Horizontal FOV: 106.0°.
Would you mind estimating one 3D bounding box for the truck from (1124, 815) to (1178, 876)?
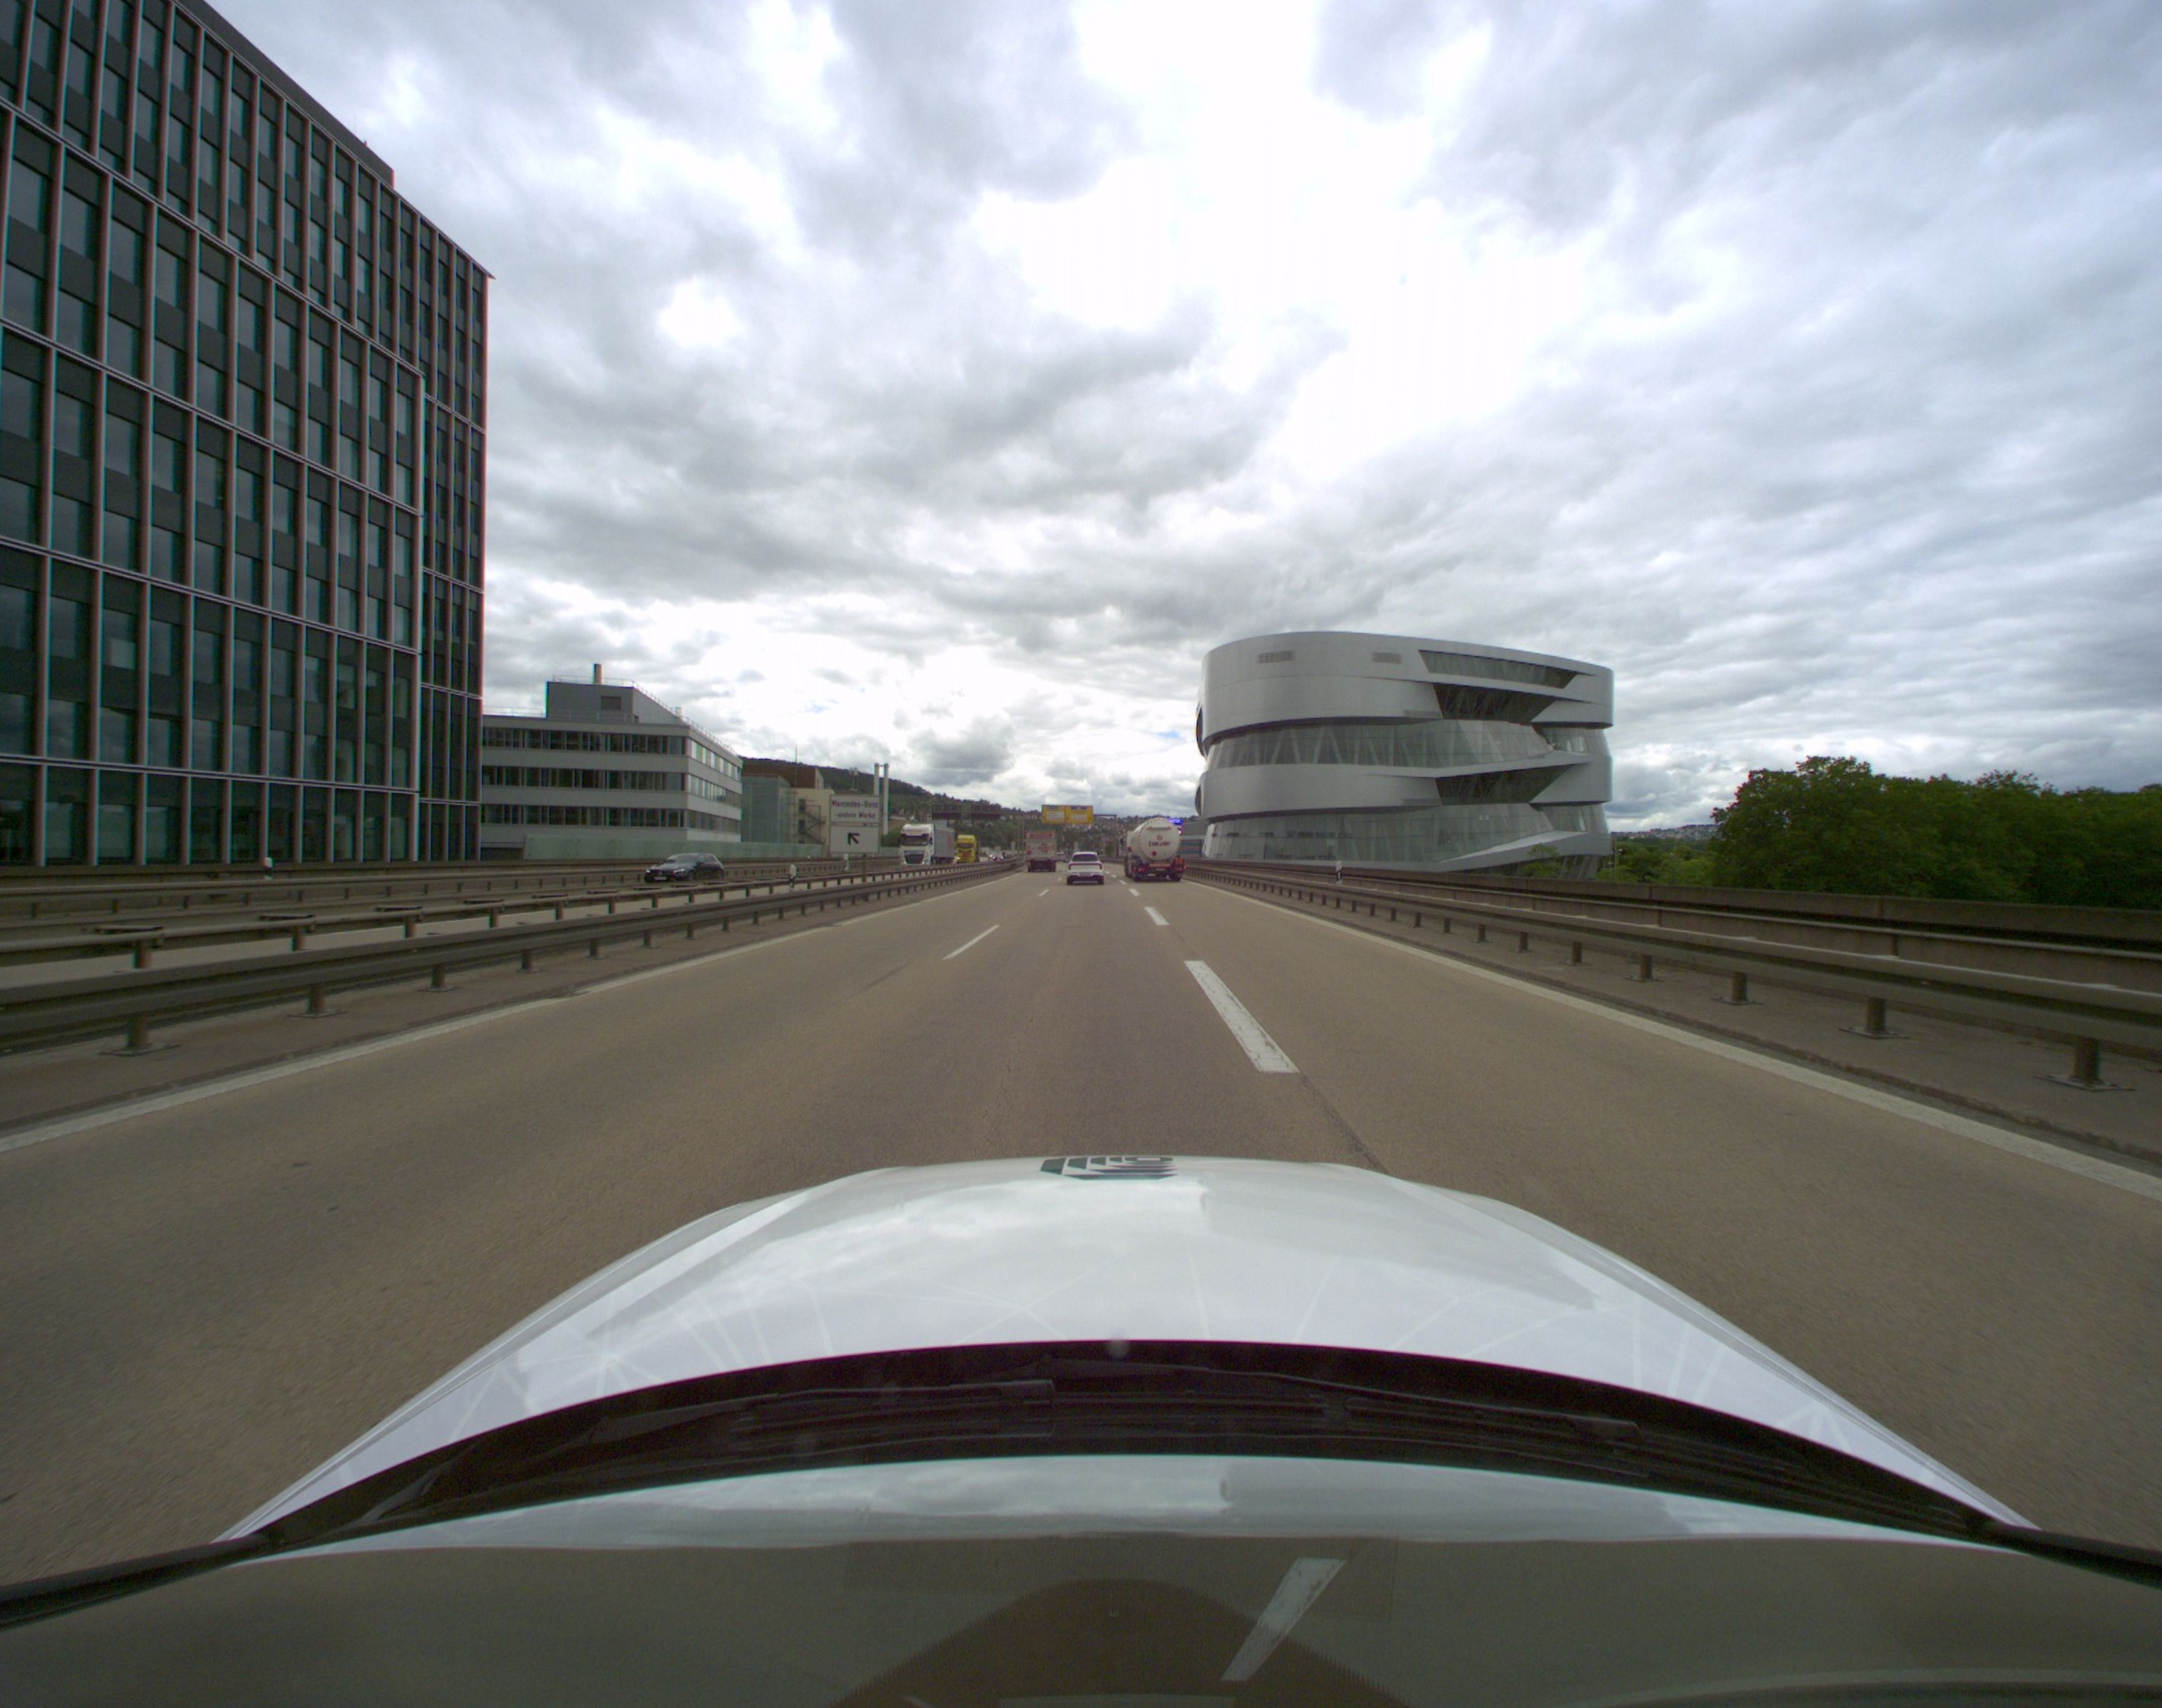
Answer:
[{"bbox_3d":[4.405,-0.461,52.321,3.003,3.657,6.274,-1,-1,1],"label":"truck"}]

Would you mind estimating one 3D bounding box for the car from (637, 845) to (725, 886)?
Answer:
[{"bbox_3d":[-17.259,0.482,35.375,1.678,1.650,4.358,1,-1,0],"label":"car"}]

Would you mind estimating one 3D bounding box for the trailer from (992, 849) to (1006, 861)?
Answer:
[{"bbox_3d":[-14.028,0.148,139.274,1.987,2.014,3.998,-1,-1,-1],"label":"trailer"}]

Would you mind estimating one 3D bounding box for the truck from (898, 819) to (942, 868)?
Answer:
[{"bbox_3d":[-14.073,-0.853,71.514,2.763,4.079,5.644,-1,-1,0],"label":"truck"}]

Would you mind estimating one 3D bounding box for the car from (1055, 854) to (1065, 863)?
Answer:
[{"bbox_3d":[-3.616,0.772,140.350,1.678,1.650,4.358,1,-1,0],"label":"car"}]

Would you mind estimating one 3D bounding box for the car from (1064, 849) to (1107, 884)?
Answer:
[{"bbox_3d":[0.285,0.631,42.186,1.985,1.675,4.411,-1,-1,3],"label":"car"}]

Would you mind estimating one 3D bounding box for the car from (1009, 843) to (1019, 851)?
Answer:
[{"bbox_3d":[-15.136,-1.592,183.617,1.989,1.606,4.801,-1,-1,-3],"label":"car"}]

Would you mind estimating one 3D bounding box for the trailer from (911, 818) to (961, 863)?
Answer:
[{"bbox_3d":[-14.184,-1.209,80.474,2.836,3.987,11.881,-1,-1,0],"label":"trailer"}]

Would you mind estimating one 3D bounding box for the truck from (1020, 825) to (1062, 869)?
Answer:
[{"bbox_3d":[-3.443,-0.561,72.161,3.046,3.691,8.306,-1,-1,2],"label":"truck"}]

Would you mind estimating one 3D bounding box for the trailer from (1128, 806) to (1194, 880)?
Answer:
[{"bbox_3d":[4.377,-0.521,46.422,3.046,3.790,8.303,-1,-1,1],"label":"trailer"}]

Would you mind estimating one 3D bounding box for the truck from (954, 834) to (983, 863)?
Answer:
[{"bbox_3d":[-16.515,-0.731,120.132,3.049,4.065,11.846,-1,-1,-2],"label":"truck"}]
